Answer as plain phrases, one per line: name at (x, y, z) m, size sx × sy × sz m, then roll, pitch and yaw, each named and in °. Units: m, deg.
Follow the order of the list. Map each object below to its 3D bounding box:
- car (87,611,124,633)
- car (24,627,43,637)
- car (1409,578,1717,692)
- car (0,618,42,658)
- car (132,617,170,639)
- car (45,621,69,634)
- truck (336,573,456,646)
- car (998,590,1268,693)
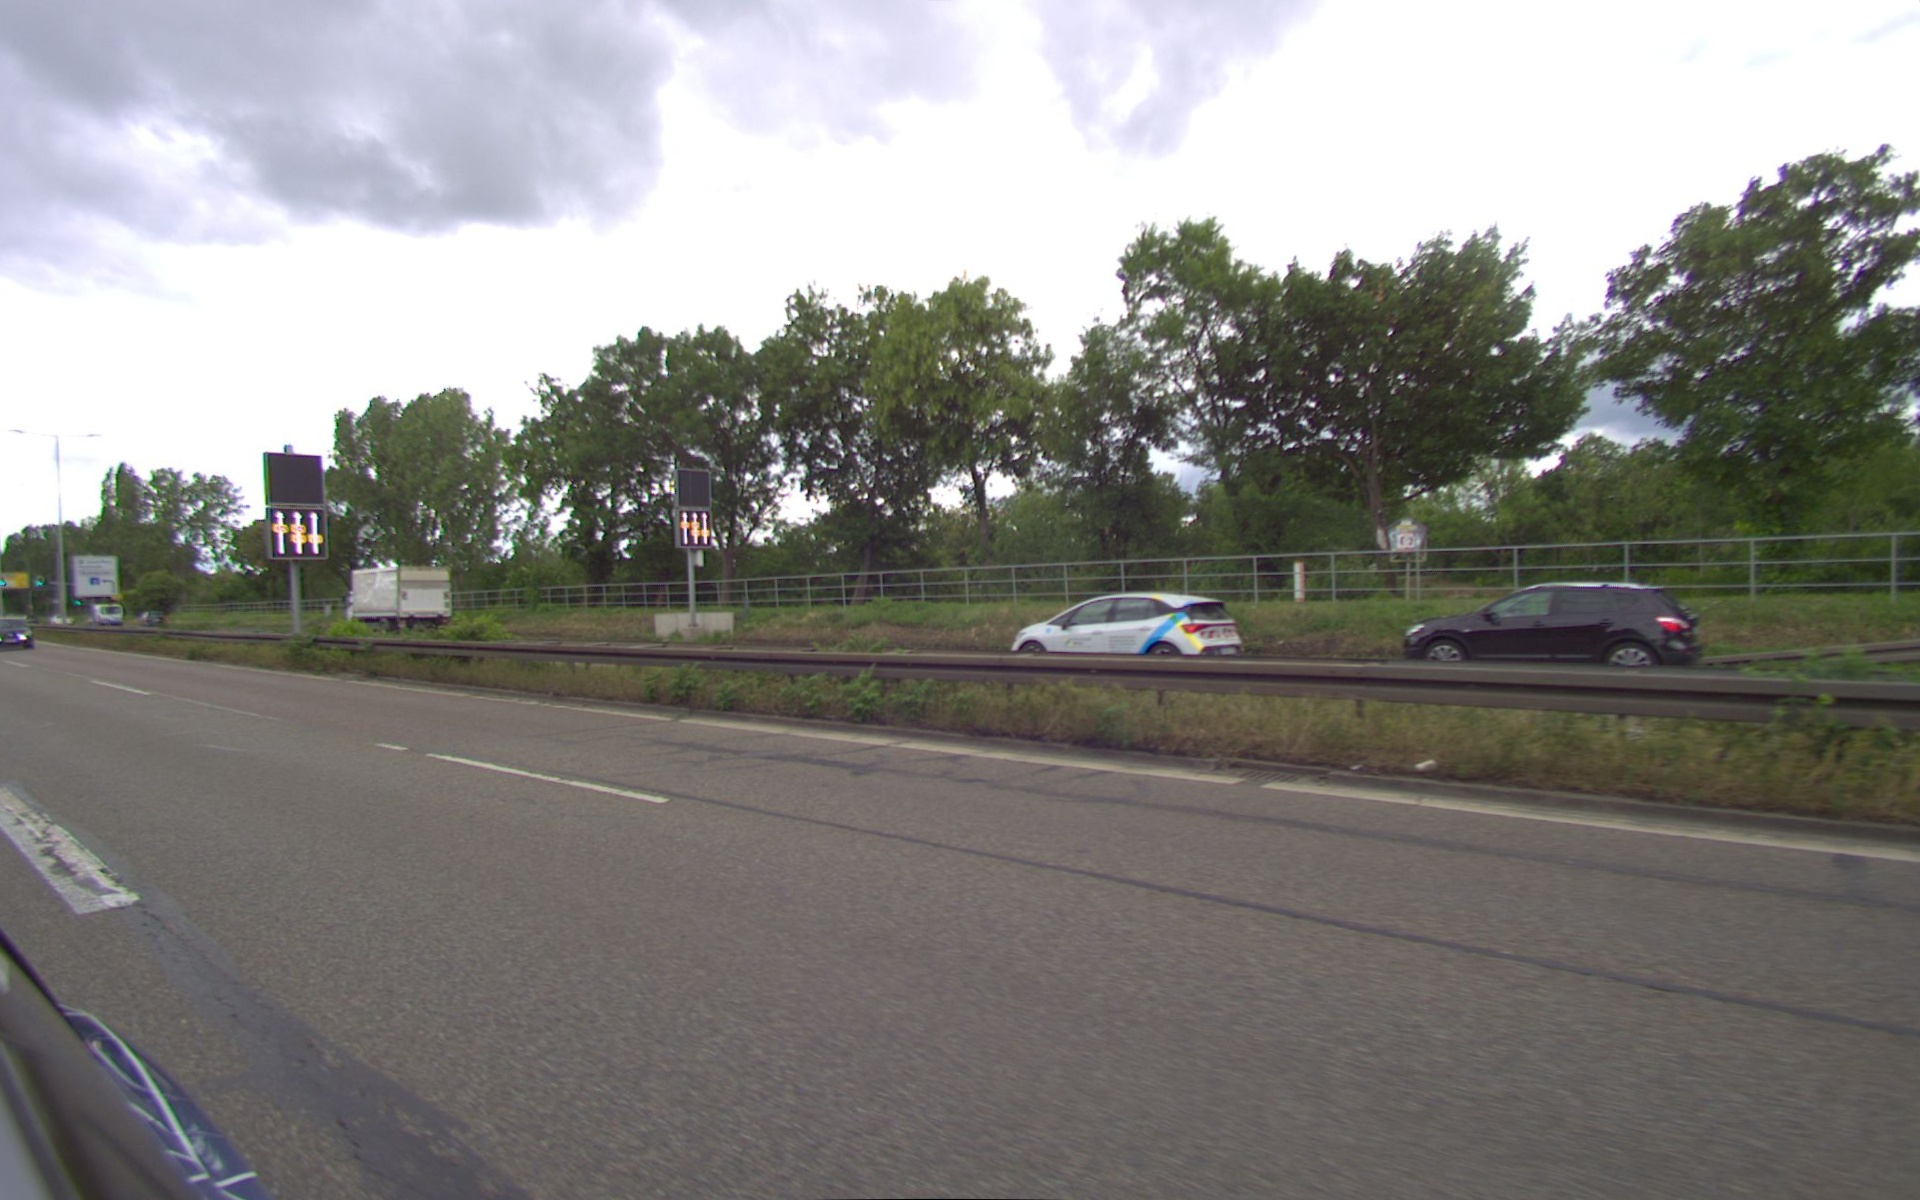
car at (-84.043, 2.166, 99.494) m, size 5.475 × 1.962 × 2.201 m, roll -2°, pitch 0°, yaw 44°
car at (-148.127, 5.124, 161.738) m, size 4.784 × 1.309 × 1.643 m, roll -2°, pitch 1°, yaw 41°
car at (9.677, 0.552, 16.435) m, size 4.040 × 1.617 × 1.708 m, roll -2°, pitch -2°, yaw 42°
car at (-44.231, 1.768, 46.937) m, size 4.143 × 1.737 × 1.860 m, roll -2°, pitch 1°, yaw 41°
car at (-67.194, 2.345, 84.015) m, size 4.147 × 1.737 × 1.858 m, roll -2°, pitch 1°, yaw 44°
car at (-104.548, 3.199, 117.118) m, size 3.987 × 1.409 × 1.642 m, roll -2°, pitch -1°, yaw 42°
truck at (-30.465, 0.509, 54.417) m, size 9.588 × 3.605 × 2.857 m, roll -1°, pitch 0°, yaw 44°
car at (2.964, 0.708, 18.011) m, size 4.536 × 1.617 × 1.680 m, roll -2°, pitch -2°, yaw 42°
